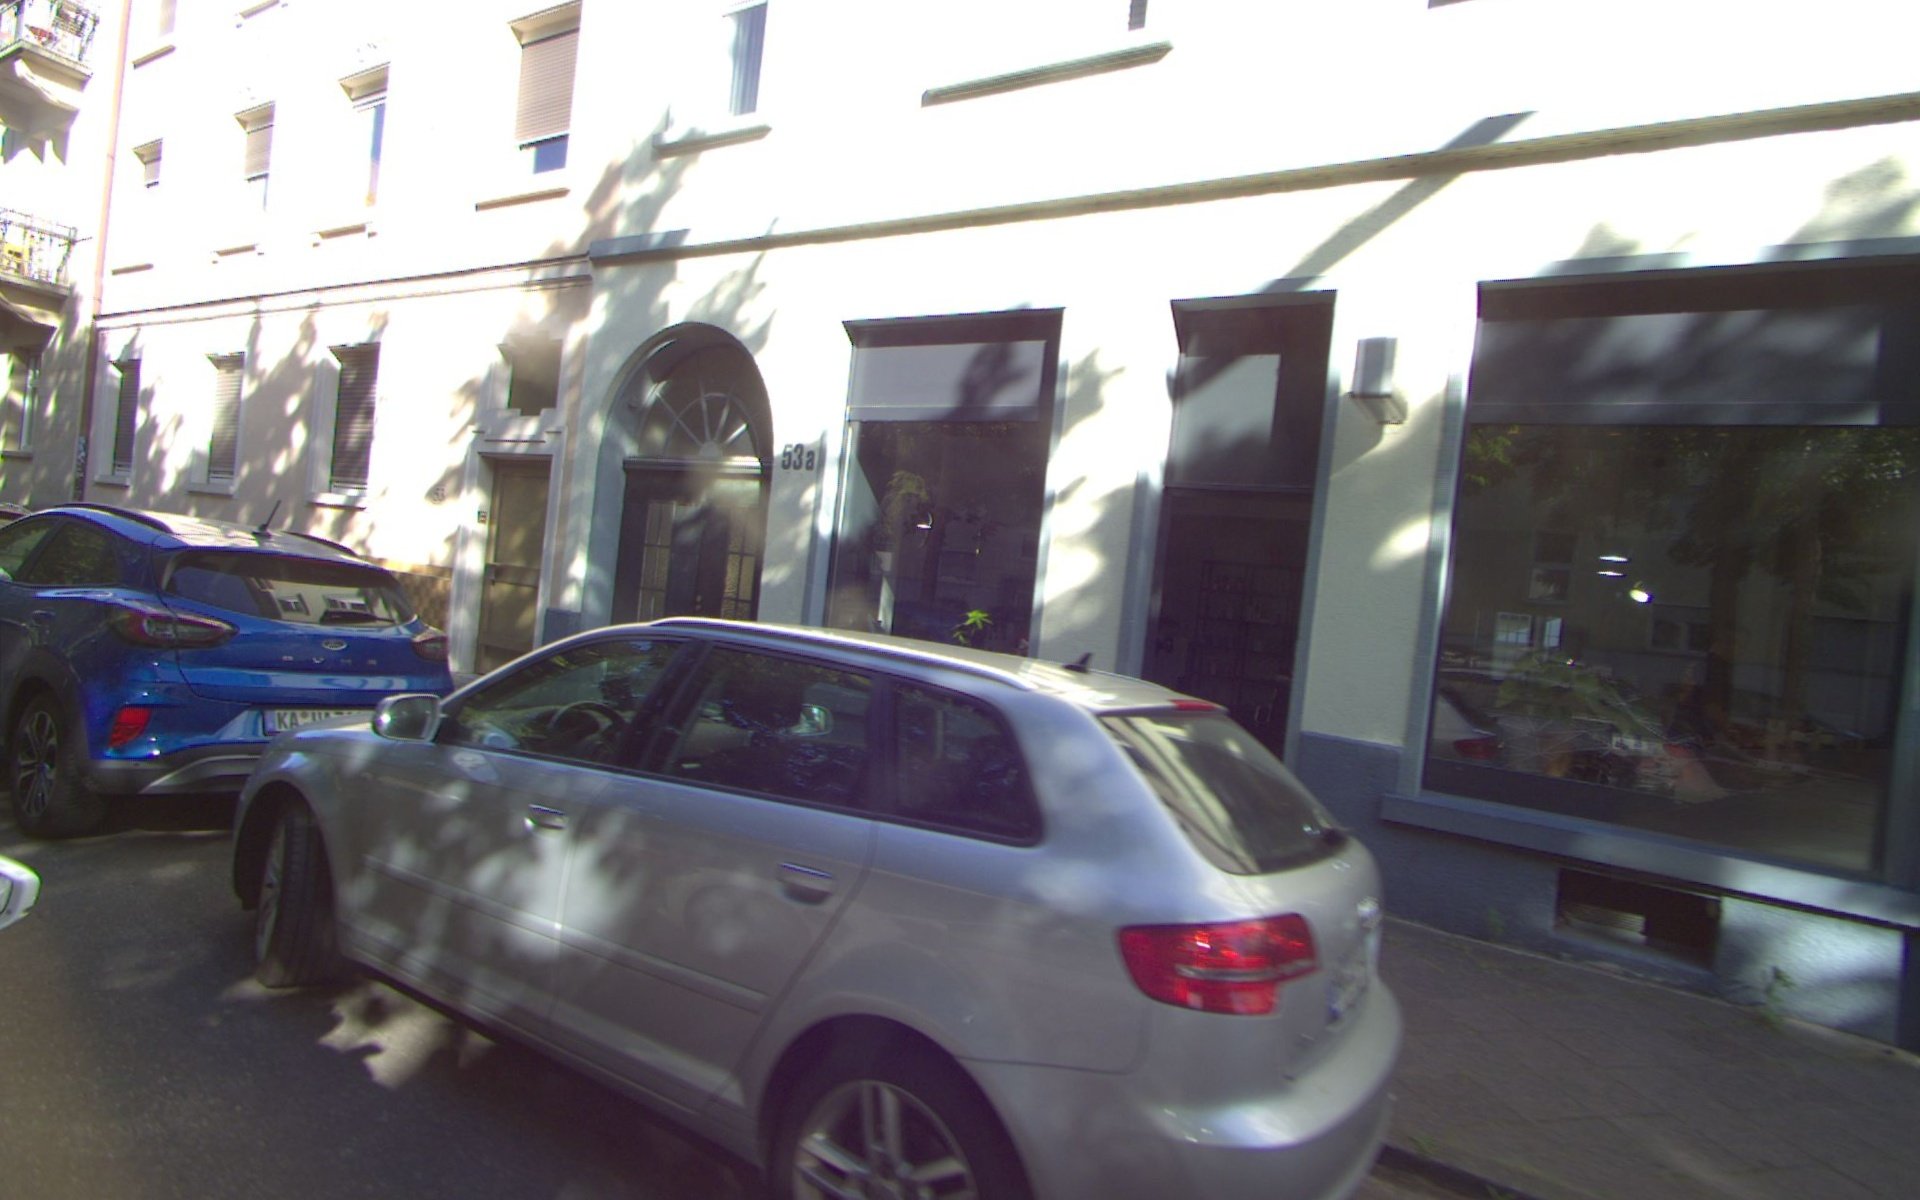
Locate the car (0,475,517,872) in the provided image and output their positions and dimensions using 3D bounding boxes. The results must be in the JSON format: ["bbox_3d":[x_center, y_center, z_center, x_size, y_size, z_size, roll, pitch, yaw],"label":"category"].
[{"bbox_3d":[-4.760,0.208,5.912,4.114,1.569,1.771,7,-2,31],"label":"car"}]

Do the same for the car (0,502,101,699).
[{"bbox_3d":[-9.142,-0.212,8.476,3.939,1.485,1.695,7,-1,32],"label":"car"}]

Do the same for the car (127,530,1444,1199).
[{"bbox_3d":[-0.843,0.737,3.435,4.220,1.448,1.772,7,-1,32],"label":"car"}]
